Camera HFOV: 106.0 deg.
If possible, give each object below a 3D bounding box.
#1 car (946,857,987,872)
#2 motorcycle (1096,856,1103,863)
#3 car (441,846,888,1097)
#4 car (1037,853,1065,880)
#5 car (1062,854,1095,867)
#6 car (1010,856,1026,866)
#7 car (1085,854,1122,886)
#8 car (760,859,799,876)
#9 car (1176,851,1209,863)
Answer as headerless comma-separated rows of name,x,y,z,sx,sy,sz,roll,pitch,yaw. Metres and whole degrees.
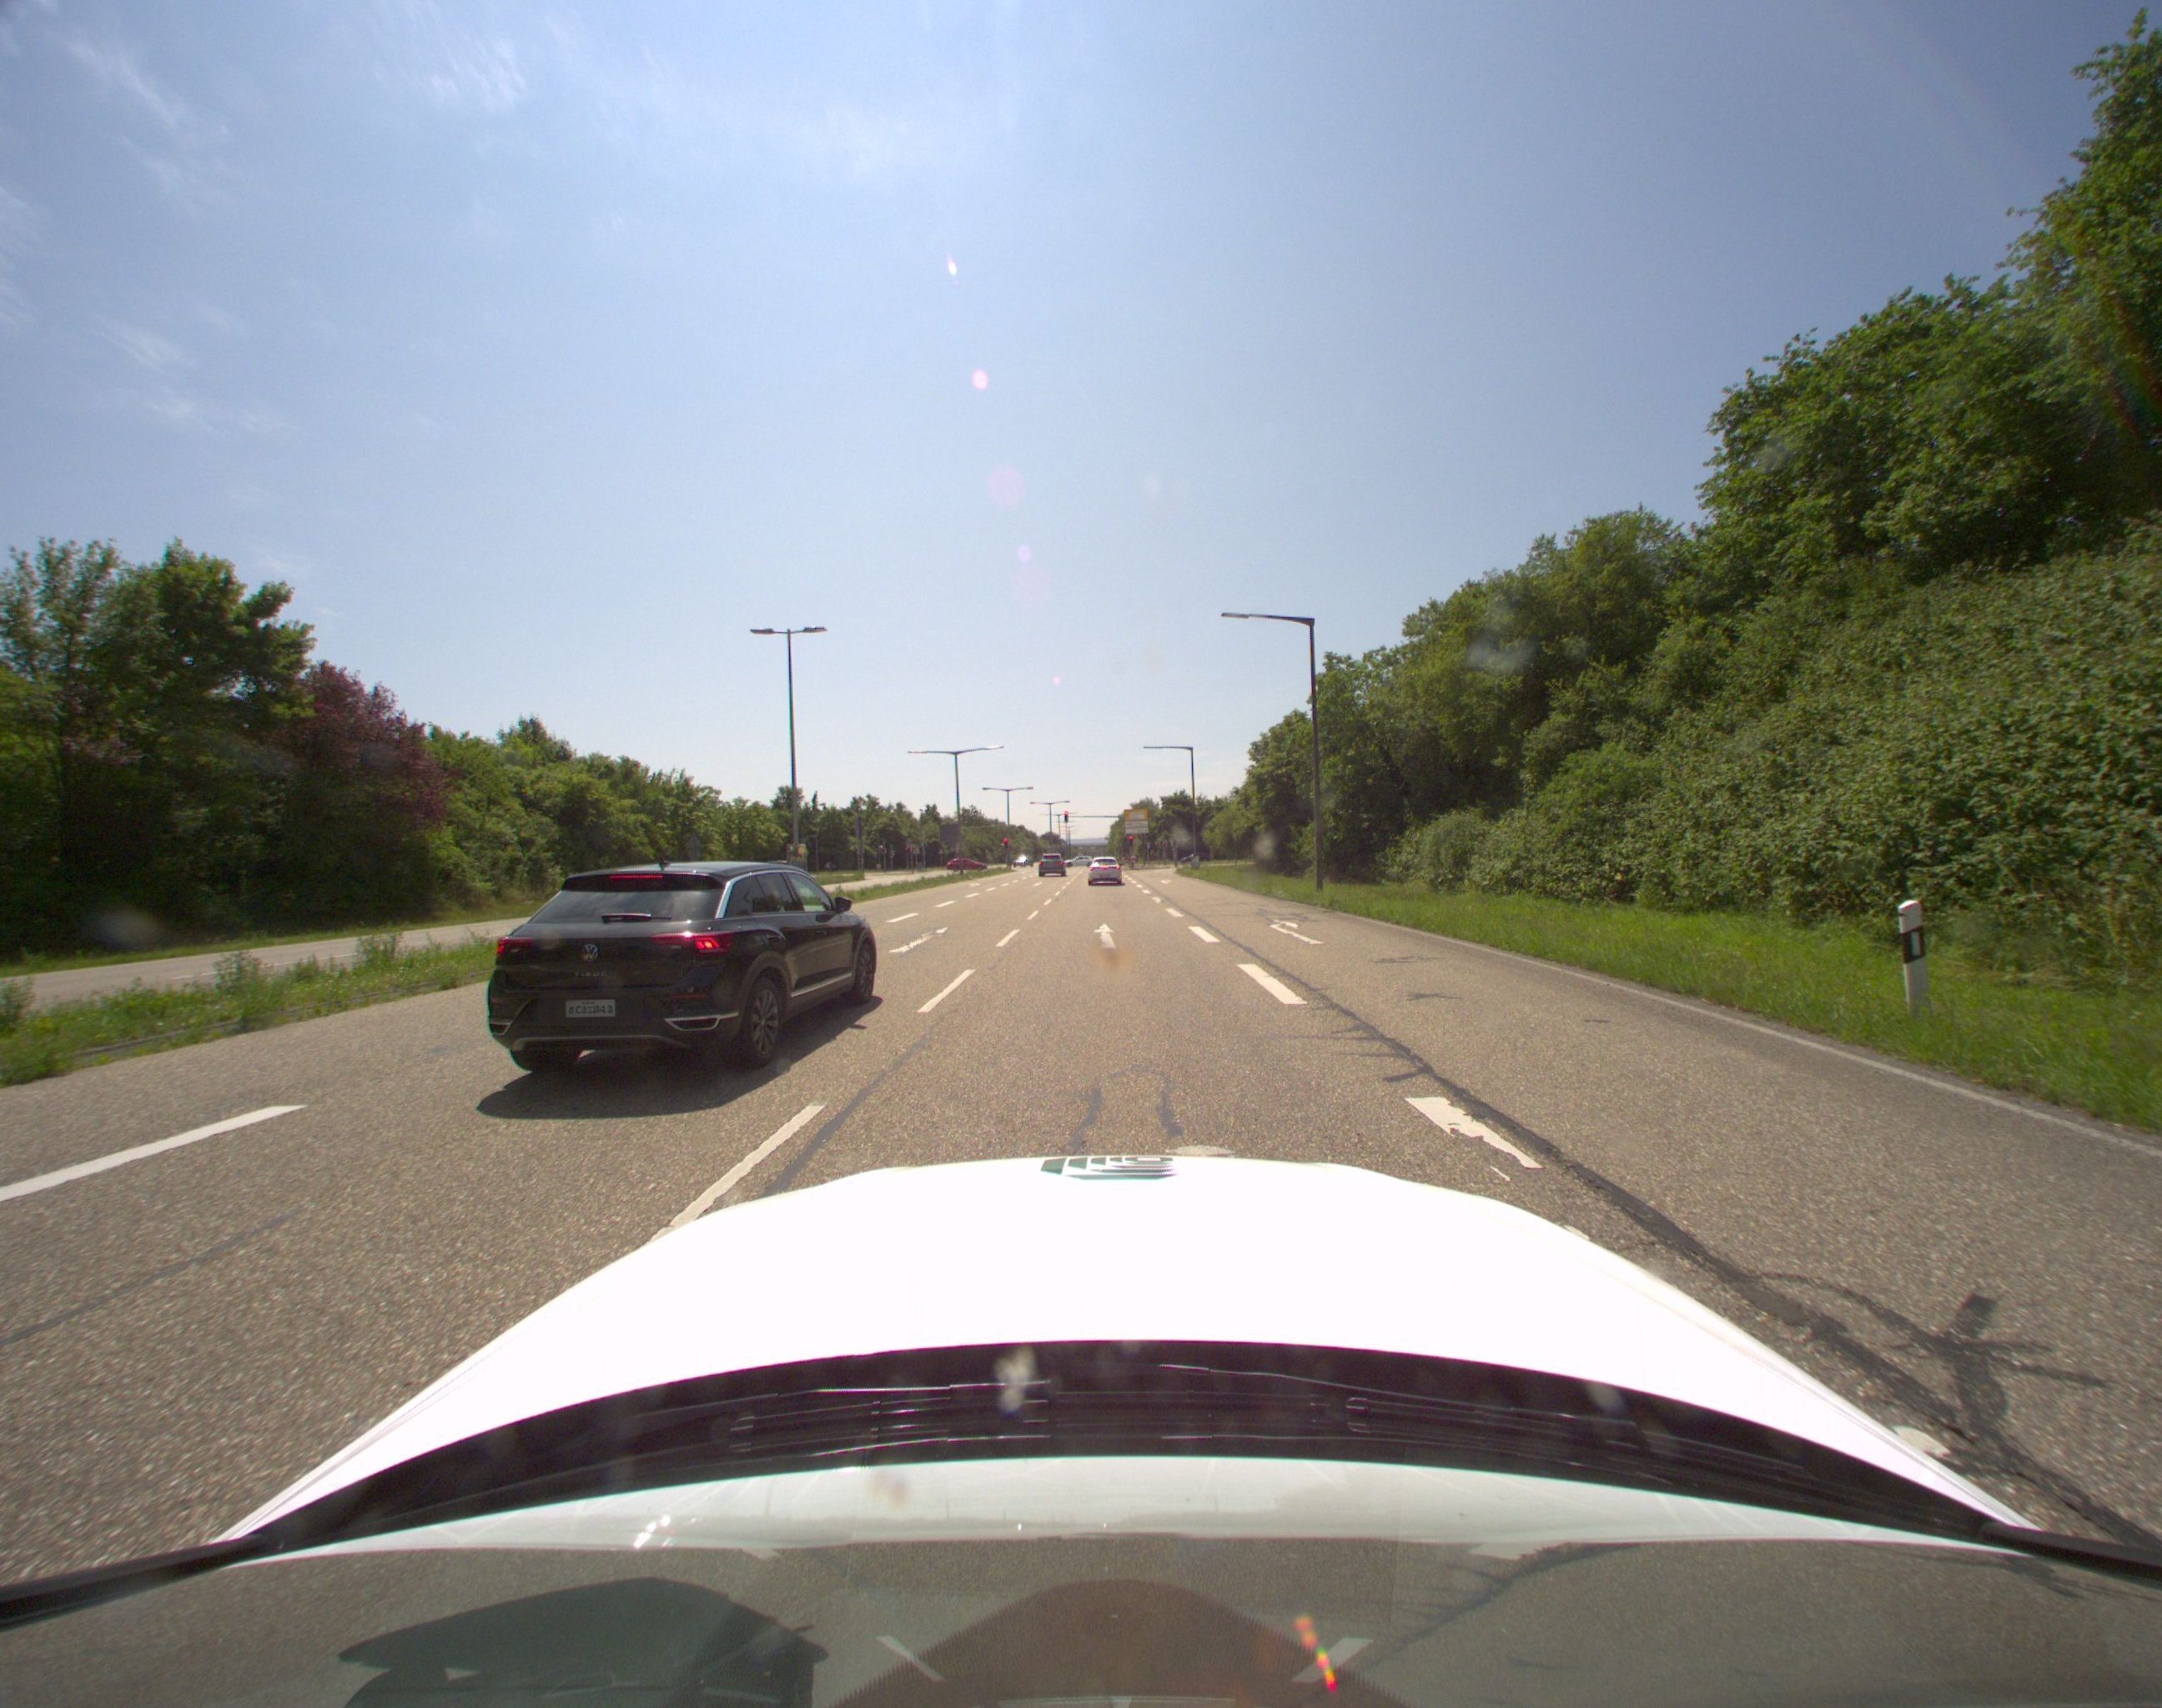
car,-13.030,1.173,92.664,4.520,1.641,1.972,-1,0,-8
motorcycle,3.784,1.158,170.276,1.419,1.281,2.569,-3,-1,1
car,-3.117,0.761,7.155,1.749,1.556,4.001,-1,0,2
car,-2.235,0.929,61.436,1.749,1.929,4.001,-1,-1,2
car,-0.316,0.826,107.627,4.097,1.525,1.934,-2,0,-7
car,-9.450,1.006,122.896,1.820,1.519,4.004,-1,0,4
car,1.207,0.811,42.843,1.790,1.583,4.002,-2,-1,2
car,-34.681,1.550,93.746,3.989,1.830,1.992,-1,0,-11
car,14.936,0.362,109.221,4.097,1.525,1.934,-2,0,-7
